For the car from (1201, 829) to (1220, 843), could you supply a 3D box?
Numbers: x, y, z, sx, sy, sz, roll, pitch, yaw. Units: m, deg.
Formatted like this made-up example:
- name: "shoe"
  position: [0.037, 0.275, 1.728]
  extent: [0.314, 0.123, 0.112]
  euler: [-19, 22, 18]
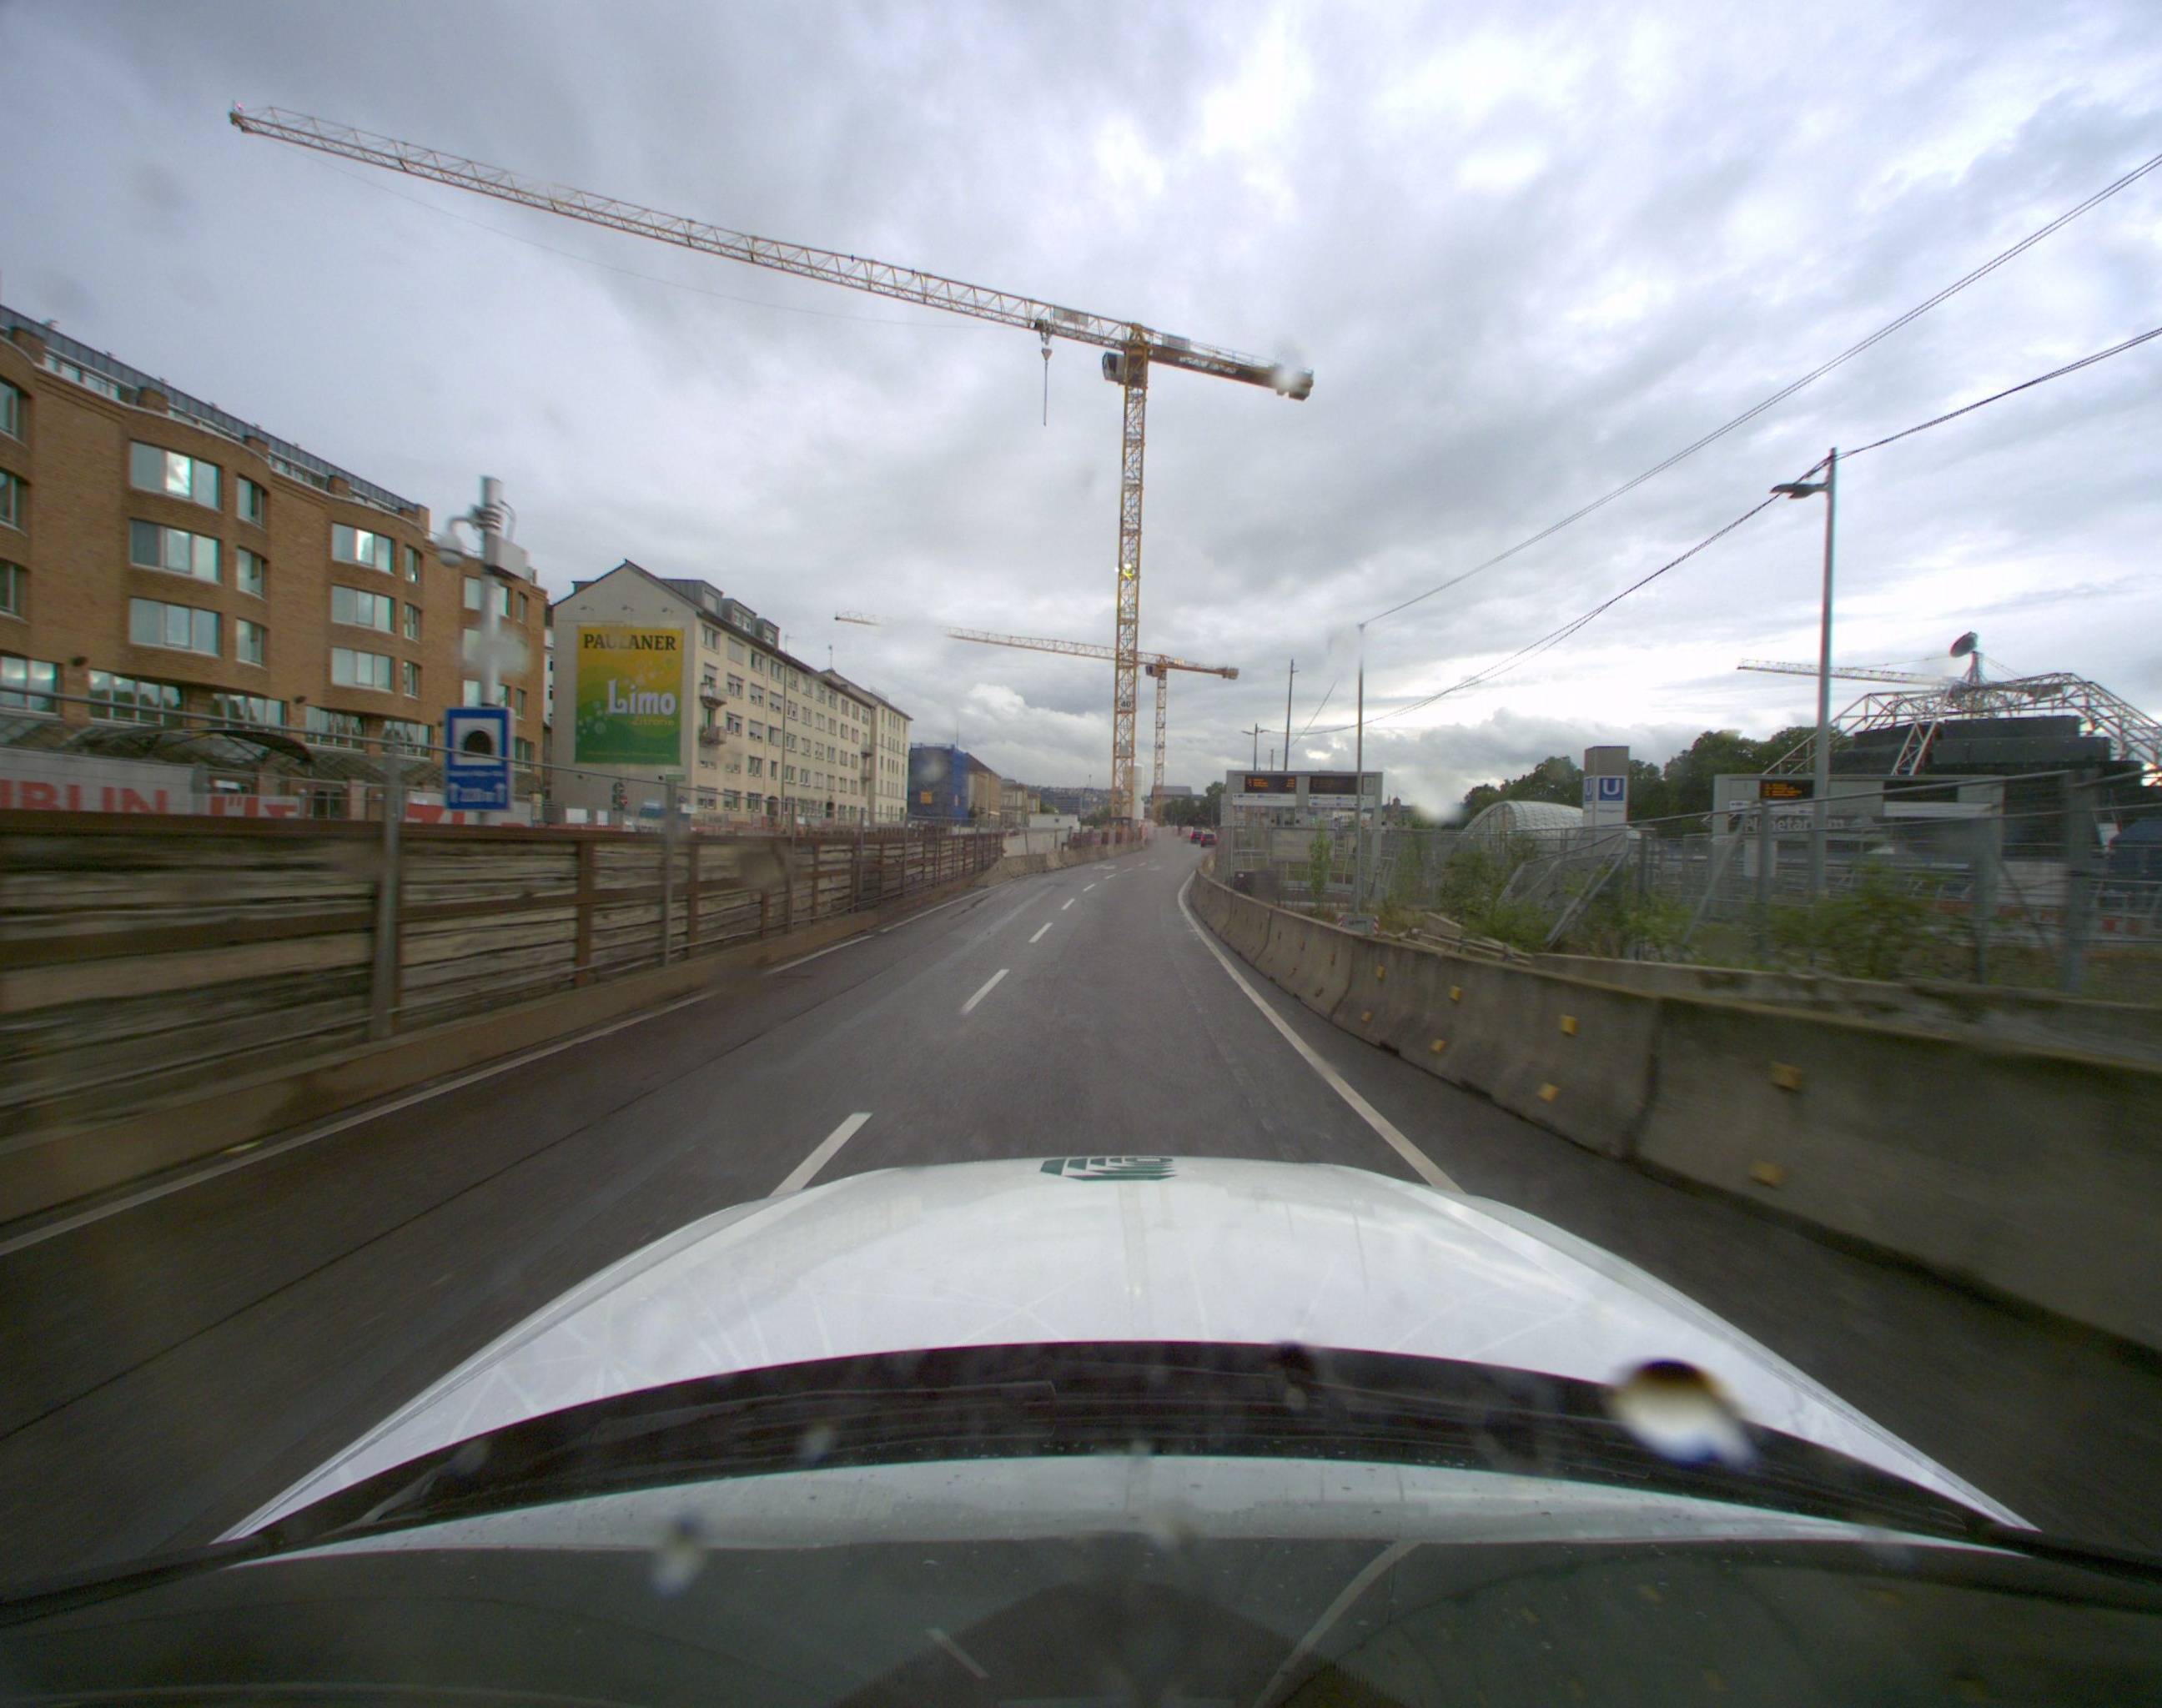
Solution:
- name: "car"
  position: [13.512, -1.854, 84.569]
  extent: [1.851, 1.433, 4.670]
  euler: [-1, 1, 10]

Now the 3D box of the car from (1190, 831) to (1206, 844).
- name: "car"
  position: [14.903, -2.123, 103.596]
  extent: [1.851, 1.660, 4.671]
  euler: [2, 2, 11]

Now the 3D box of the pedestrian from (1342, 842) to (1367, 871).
- name: "pedestrian"
  position: [16.275, 0.149, 48.477]
  extent: [1.022, 1.658, 0.894]
  euler: [0, 0, -19]

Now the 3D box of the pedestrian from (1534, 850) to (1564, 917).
- name: "pedestrian"
  position: [12.927, 0.792, 22.503]
  extent: [0.683, 1.778, 0.820]
  euler: [1, 0, 29]

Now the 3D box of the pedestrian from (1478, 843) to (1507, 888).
- name: "pedestrian"
  position: [16.771, 0.463, 33.231]
  extent: [0.722, 1.778, 1.025]
  euler: [1, 0, 6]

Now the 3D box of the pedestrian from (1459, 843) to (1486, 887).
- name: "pedestrian"
  position: [16.060, 0.439, 33.397]
  extent: [0.686, 1.778, 1.025]
  euler: [1, 0, 6]
